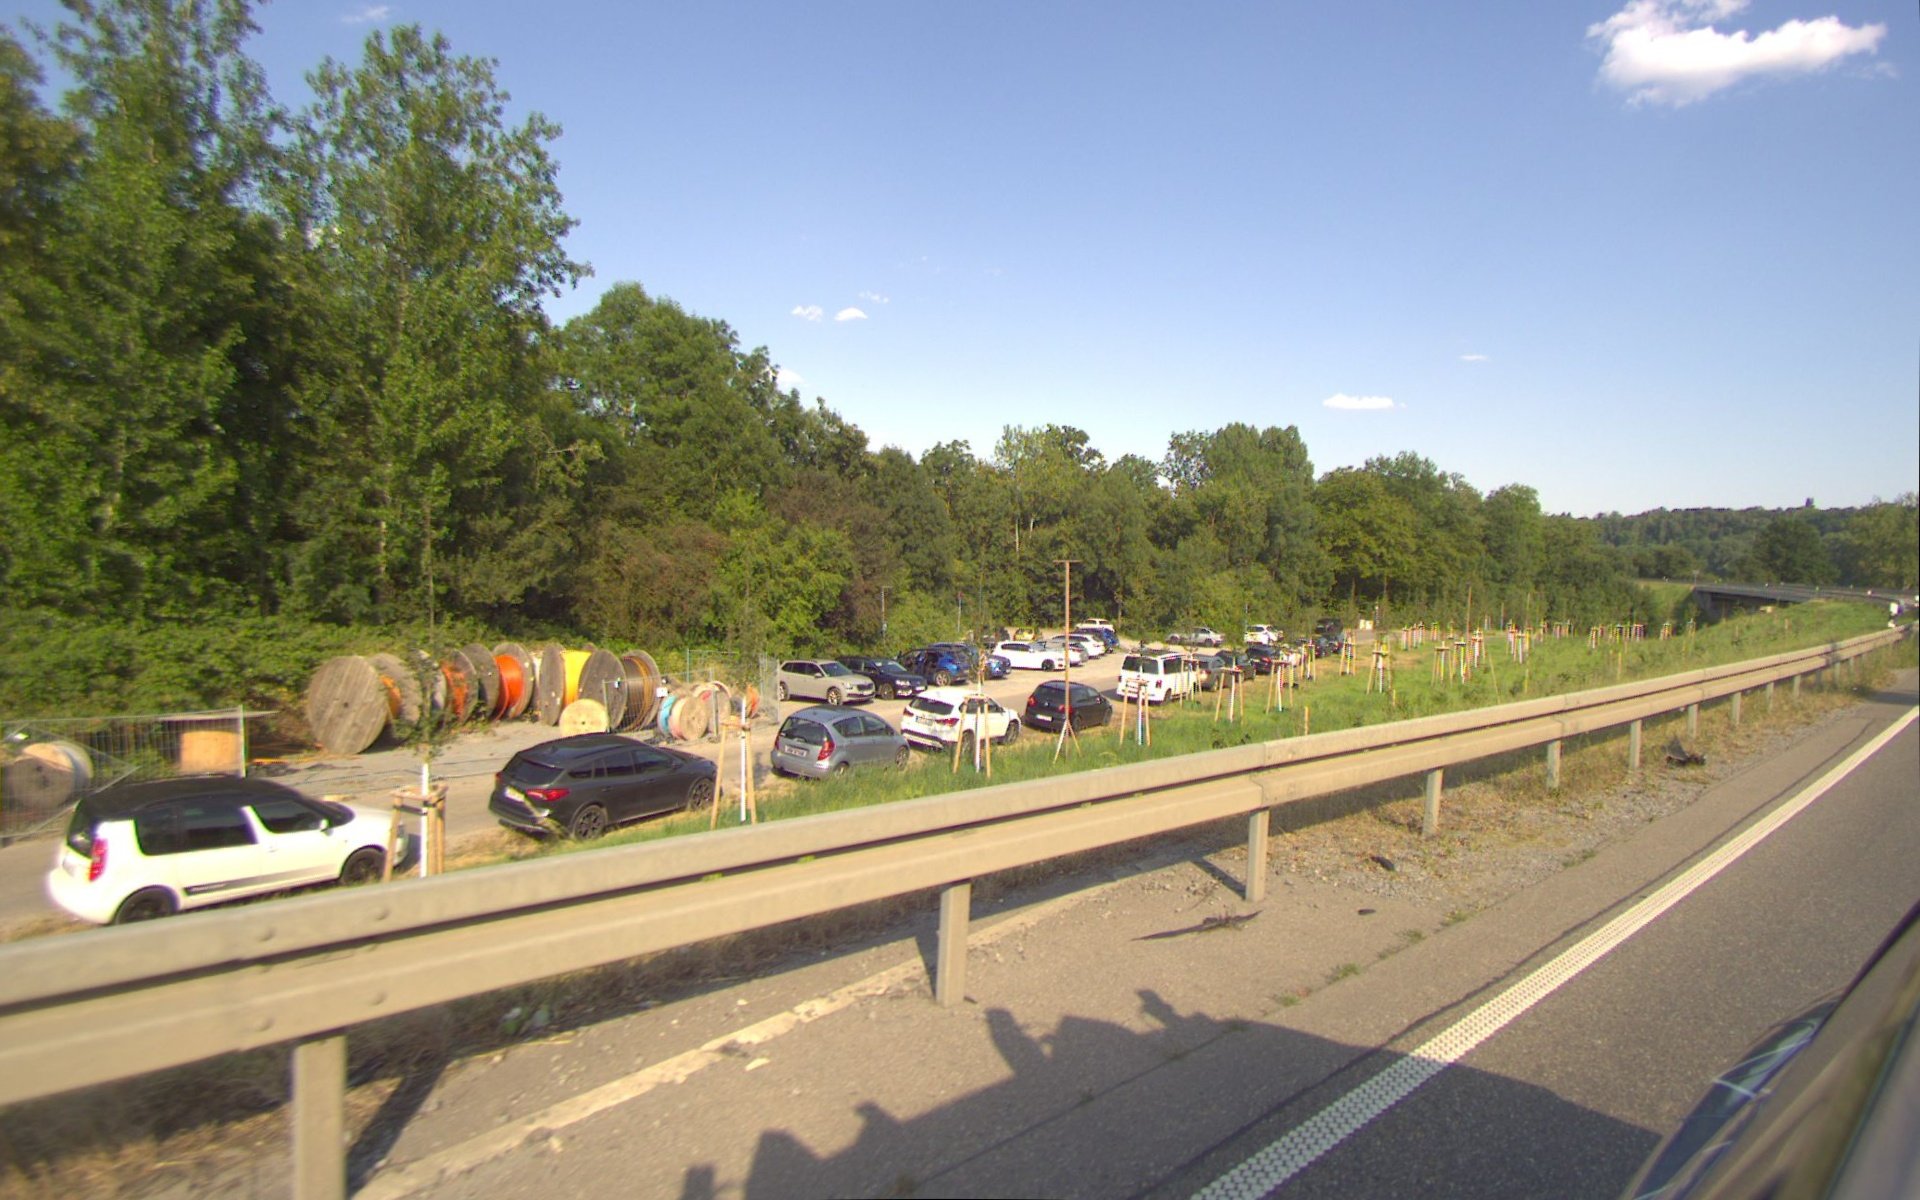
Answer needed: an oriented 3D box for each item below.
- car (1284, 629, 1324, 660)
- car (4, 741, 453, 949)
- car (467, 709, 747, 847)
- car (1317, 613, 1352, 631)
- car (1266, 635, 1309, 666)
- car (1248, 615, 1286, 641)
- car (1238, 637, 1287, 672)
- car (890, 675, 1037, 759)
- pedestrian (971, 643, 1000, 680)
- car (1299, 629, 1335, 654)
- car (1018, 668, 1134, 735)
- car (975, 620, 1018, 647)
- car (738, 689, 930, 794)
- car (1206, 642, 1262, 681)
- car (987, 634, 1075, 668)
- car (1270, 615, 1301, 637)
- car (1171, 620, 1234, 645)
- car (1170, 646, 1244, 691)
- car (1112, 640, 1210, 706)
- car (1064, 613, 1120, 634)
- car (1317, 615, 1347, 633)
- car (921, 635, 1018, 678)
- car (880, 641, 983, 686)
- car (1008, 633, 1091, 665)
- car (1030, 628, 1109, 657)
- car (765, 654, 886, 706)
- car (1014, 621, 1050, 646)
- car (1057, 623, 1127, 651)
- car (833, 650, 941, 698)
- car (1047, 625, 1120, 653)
[{"bbox_3d":[22.280,2.857,65.500,1.806,1.679,4.218,4,2,26],"label":"car"},{"bbox_3d":[-9.949,3.183,14.198,1.886,1.578,4.724,6,3,33],"label":"car"},{"bbox_3d":[-6.420,3.161,18.953,1.886,1.578,4.724,6,3,33],"label":"car"},{"bbox_3d":[38.074,2.236,102.861,1.625,1.515,3.693,0,2,-11],"label":"car"},{"bbox_3d":[19.412,2.937,59.864,1.806,1.500,4.218,4,2,26],"label":"car"},{"bbox_3d":[23.524,2.097,77.540,1.647,1.687,4.657,2,3,31],"label":"car"},{"bbox_3d":[16.585,2.953,55.429,1.806,1.500,4.355,4,2,26],"label":"car"},{"bbox_3d":[0.197,3.153,28.083,1.884,1.578,4.731,6,3,30],"label":"car"},{"bbox_3d":[1.115,2.687,44.069,0.870,1.489,0.924,3,2,-25],"label":"pedestrian"},{"bbox_3d":[24.645,2.830,69.770,1.806,1.418,4.218,4,2,26],"label":"car"},{"bbox_3d":[3.843,3.202,32.778,1.884,1.500,4.731,6,3,30],"label":"car"},{"bbox_3d":[2.418,2.141,66.203,1.597,1.474,4.220,3,1,19],"label":"car"},{"bbox_3d":[-2.788,3.154,23.559,1.884,1.578,4.731,6,3,30],"label":"car"},{"bbox_3d":[13.673,3.020,50.322,1.806,1.500,4.355,4,2,26],"label":"car"},{"bbox_3d":[3.655,2.610,52.195,4.204,1.517,1.756,1,0,26],"label":"car"},{"bbox_3d":[26.679,2.098,82.874,1.645,1.515,4.182,2,3,28],"label":"car"},{"bbox_3d":[17.785,2.361,74.275,4.214,1.474,1.600,3,1,31],"label":"car"},{"bbox_3d":[11.226,3.051,45.739,1.884,1.500,4.731,6,3,30],"label":"car"},{"bbox_3d":[8.106,2.822,40.431,2.110,2.042,5.321,6,3,30],"label":"car"},{"bbox_3d":[10.721,1.903,82.509,4.223,1.474,1.690,2,1,37],"label":"car"},{"bbox_3d":[36.100,2.282,98.084,1.651,1.515,3.778,3,3,37],"label":"car"},{"bbox_3d":[0.444,2.599,47.436,4.204,1.764,1.817,1,0,26],"label":"car"},{"bbox_3d":[-1.259,2.715,44.094,4.212,1.624,1.814,1,1,31],"label":"car"},{"bbox_3d":[4.819,2.600,54.602,4.202,1.474,1.604,1,1,25],"label":"car"},{"bbox_3d":[6.504,2.486,60.244,4.363,1.474,1.722,2,1,22],"label":"car"},{"bbox_3d":[-4.910,2.857,36.820,4.213,1.508,1.813,1,1,32],"label":"car"},{"bbox_3d":[4.875,2.238,67.995,1.480,1.474,3.652,3,1,19],"label":"car"},{"bbox_3d":[8.511,2.376,65.479,4.203,1.474,1.604,3,1,25],"label":"car"},{"bbox_3d":[-2.822,2.769,38.587,1.803,1.509,4.237,3,-1,-44],"label":"car"},{"bbox_3d":[7.672,2.407,63.034,4.203,1.474,1.604,2,1,25],"label":"car"}]
